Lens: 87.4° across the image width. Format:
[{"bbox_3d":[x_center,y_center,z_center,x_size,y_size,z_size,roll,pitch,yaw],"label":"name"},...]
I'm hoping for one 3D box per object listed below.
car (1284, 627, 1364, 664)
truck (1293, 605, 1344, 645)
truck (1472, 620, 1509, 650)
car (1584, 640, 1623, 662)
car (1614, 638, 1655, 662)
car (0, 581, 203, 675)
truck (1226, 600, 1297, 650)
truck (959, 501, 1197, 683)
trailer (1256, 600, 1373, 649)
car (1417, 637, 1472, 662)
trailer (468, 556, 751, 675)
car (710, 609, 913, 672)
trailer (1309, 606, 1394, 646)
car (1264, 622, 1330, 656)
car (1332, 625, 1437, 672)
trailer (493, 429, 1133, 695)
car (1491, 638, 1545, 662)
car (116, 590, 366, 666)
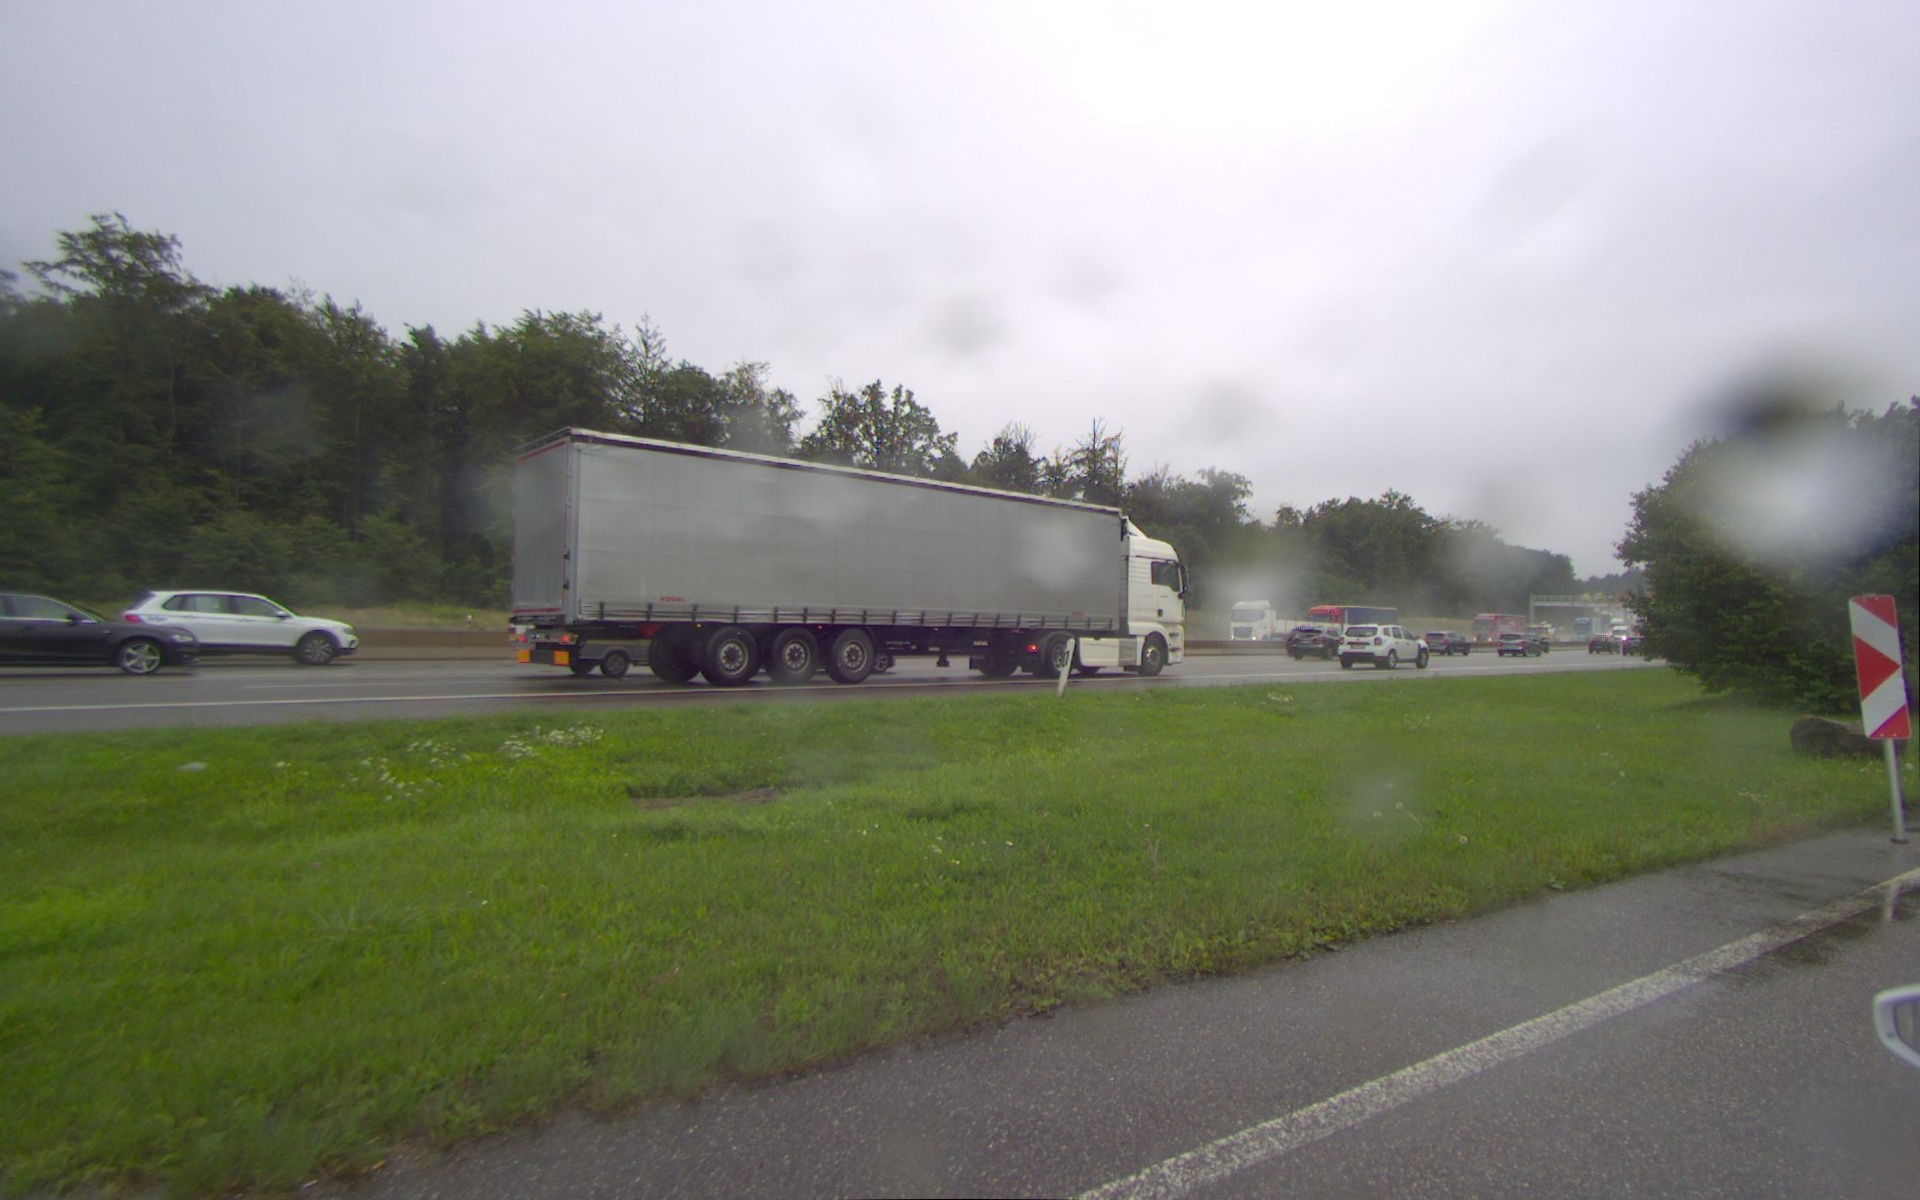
[{"bbox_3d":[17.836,2.232,49.150,4.428,1.685,1.907,3,-3,-43],"label":"car"},{"bbox_3d":[34.124,2.371,95.579,5.131,3.556,2.170,3,1,-42],"label":"truck"},{"bbox_3d":[70.198,4.576,132.895,5.762,3.668,2.416,1,3,-44],"label":"truck"},{"bbox_3d":[54.149,4.293,84.463,4.069,1.758,1.760,3,-3,-42],"label":"car"},{"bbox_3d":[52.276,3.881,77.857,3.819,1.759,1.760,3,-2,-42],"label":"car"},{"bbox_3d":[-16.173,0.497,17.628,4.492,1.560,1.977,3,-3,-40],"label":"car"},{"bbox_3d":[24.052,1.941,80.004,5.947,3.719,2.598,1,3,-42],"label":"truck"},{"bbox_3d":[3.125,-0.037,25.580,5.891,4.105,2.846,3,-3,-42],"label":"truck"},{"bbox_3d":[30.518,2.043,85.842,14.561,3.730,2.591,1,3,-42],"label":"trailer"},{"bbox_3d":[32.935,3.379,68.200,4.422,1.594,1.704,3,-2,-39],"label":"car"},{"bbox_3d":[-7.181,0.394,20.952,5.140,2.184,2.110,3,-3,-41],"label":"trailer"},{"bbox_3d":[-3.467,0.984,24.010,4.547,1.366,1.830,3,-3,-41],"label":"car"},{"bbox_3d":[39.229,2.666,100.262,13.039,3.543,2.169,3,1,-43],"label":"trailer"},{"bbox_3d":[19.085,2.213,56.843,3.969,1.773,1.693,2,2,-41],"label":"car"},{"bbox_3d":[15.217,1.726,35.919,4.290,1.607,1.771,3,-3,-41],"label":"car"},{"bbox_3d":[-1.880,-0.266,20.987,14.016,4.034,2.869,3,-3,-42],"label":"trailer"},{"bbox_3d":[38.411,3.452,69.082,4.298,1.547,1.774,3,-2,-39],"label":"car"},{"bbox_3d":[-16.358,0.635,22.989,4.492,1.561,1.977,1,-2,-40],"label":"car"}]
